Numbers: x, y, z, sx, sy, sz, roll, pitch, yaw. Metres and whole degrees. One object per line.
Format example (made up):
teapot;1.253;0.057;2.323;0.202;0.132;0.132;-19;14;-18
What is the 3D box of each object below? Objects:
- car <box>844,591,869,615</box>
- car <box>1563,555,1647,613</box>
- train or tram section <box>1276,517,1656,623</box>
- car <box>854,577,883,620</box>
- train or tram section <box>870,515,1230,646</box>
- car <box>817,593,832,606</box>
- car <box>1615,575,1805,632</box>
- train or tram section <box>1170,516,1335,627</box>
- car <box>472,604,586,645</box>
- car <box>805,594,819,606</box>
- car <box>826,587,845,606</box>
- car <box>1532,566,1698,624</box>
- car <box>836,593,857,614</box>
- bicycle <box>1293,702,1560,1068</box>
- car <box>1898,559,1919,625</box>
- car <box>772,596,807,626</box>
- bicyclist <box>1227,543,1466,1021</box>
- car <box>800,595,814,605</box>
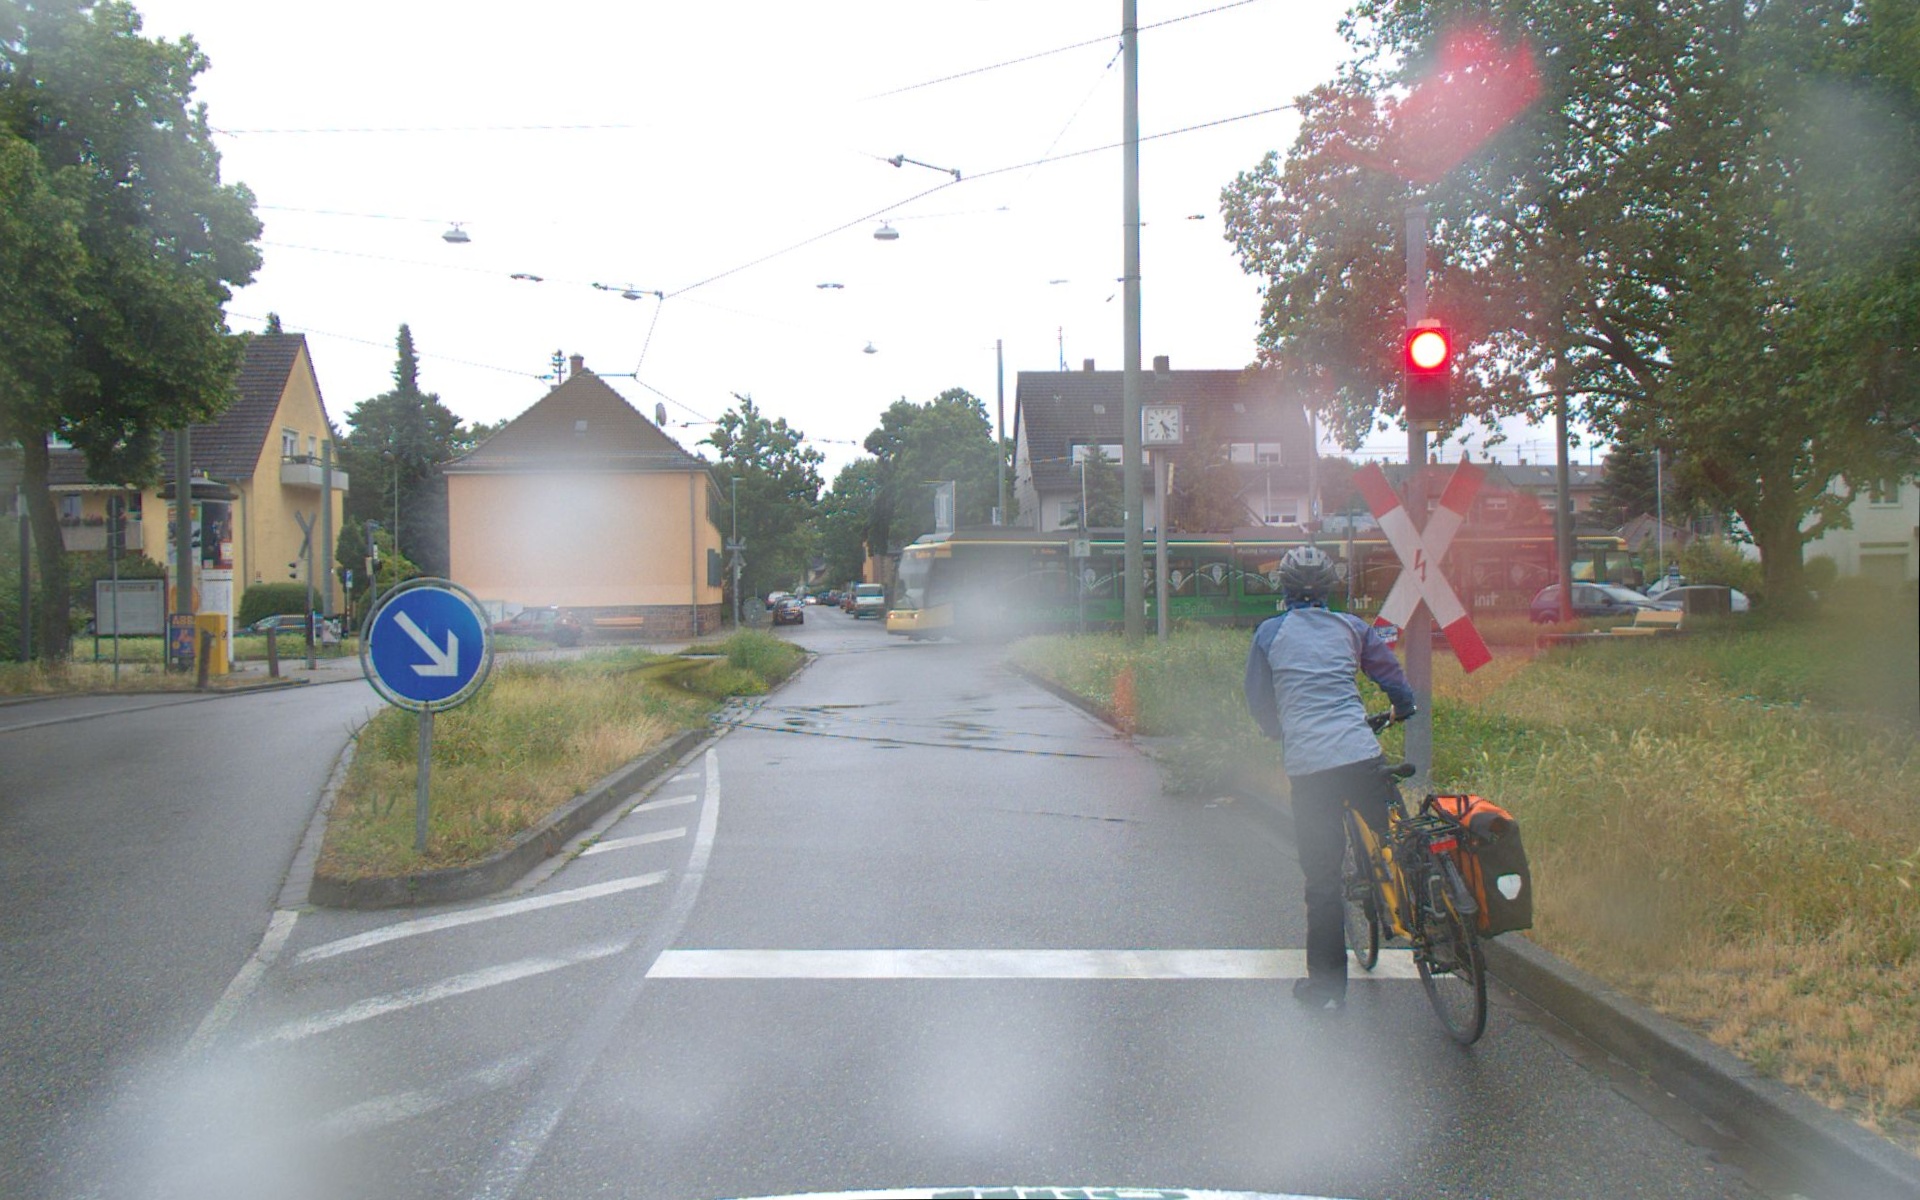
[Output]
car;-7.977;0.248;127.794;1.768;1.843;3.998;1;0;-3
car;28.817;-0.694;74.025;1.953;2.485;4.352;1;0;-2
train or tram section;17.784;-1.037;58.336;12.841;3.615;2.765;0;0;-7
car;-5.962;-0.085;107.952;1.768;2.673;3.998;1;0;-3
train or tram section;3.071;-0.746;52.231;12.052;3.614;2.738;-3;2;-33
car;-17.246;-0.067;210.981;1.768;1.591;3.998;1;0;-3
car;18.463;0.084;40.860;3.902;1.308;1.847;1;0;6
train or tram section;9.995;-1.001;56.546;4.914;3.615;2.745;-1;1;-27
car;-16.193;0.916;62.329;3.911;1.482;1.831;1;0;-7
car;-20.450;0.002;228.115;1.768;1.486;3.998;1;0;-3
car;-12.333;-0.304;164.446;1.768;1.843;3.998;1;0;-3
car;17.968;-0.150;45.450;3.848;1.522;1.798;1;0;43
car;-10.088;0.293;147.246;1.768;1.843;3.998;1;0;-3
bicycle;1.645;0.951;6.076;0.437;1.022;1.727;-1;1;-2
car;28.132;-0.189;45.528;3.703;1.829;1.799;1;0;43
car;-9.804;0.628;95.543;1.768;1.680;3.998;1;0;-3
bicyclist;1.420;0.637;6.193;0.653;1.654;0.852;1;-1;-2
car;-21.552;0.005;233.390;1.768;1.486;3.998;1;0;-3
